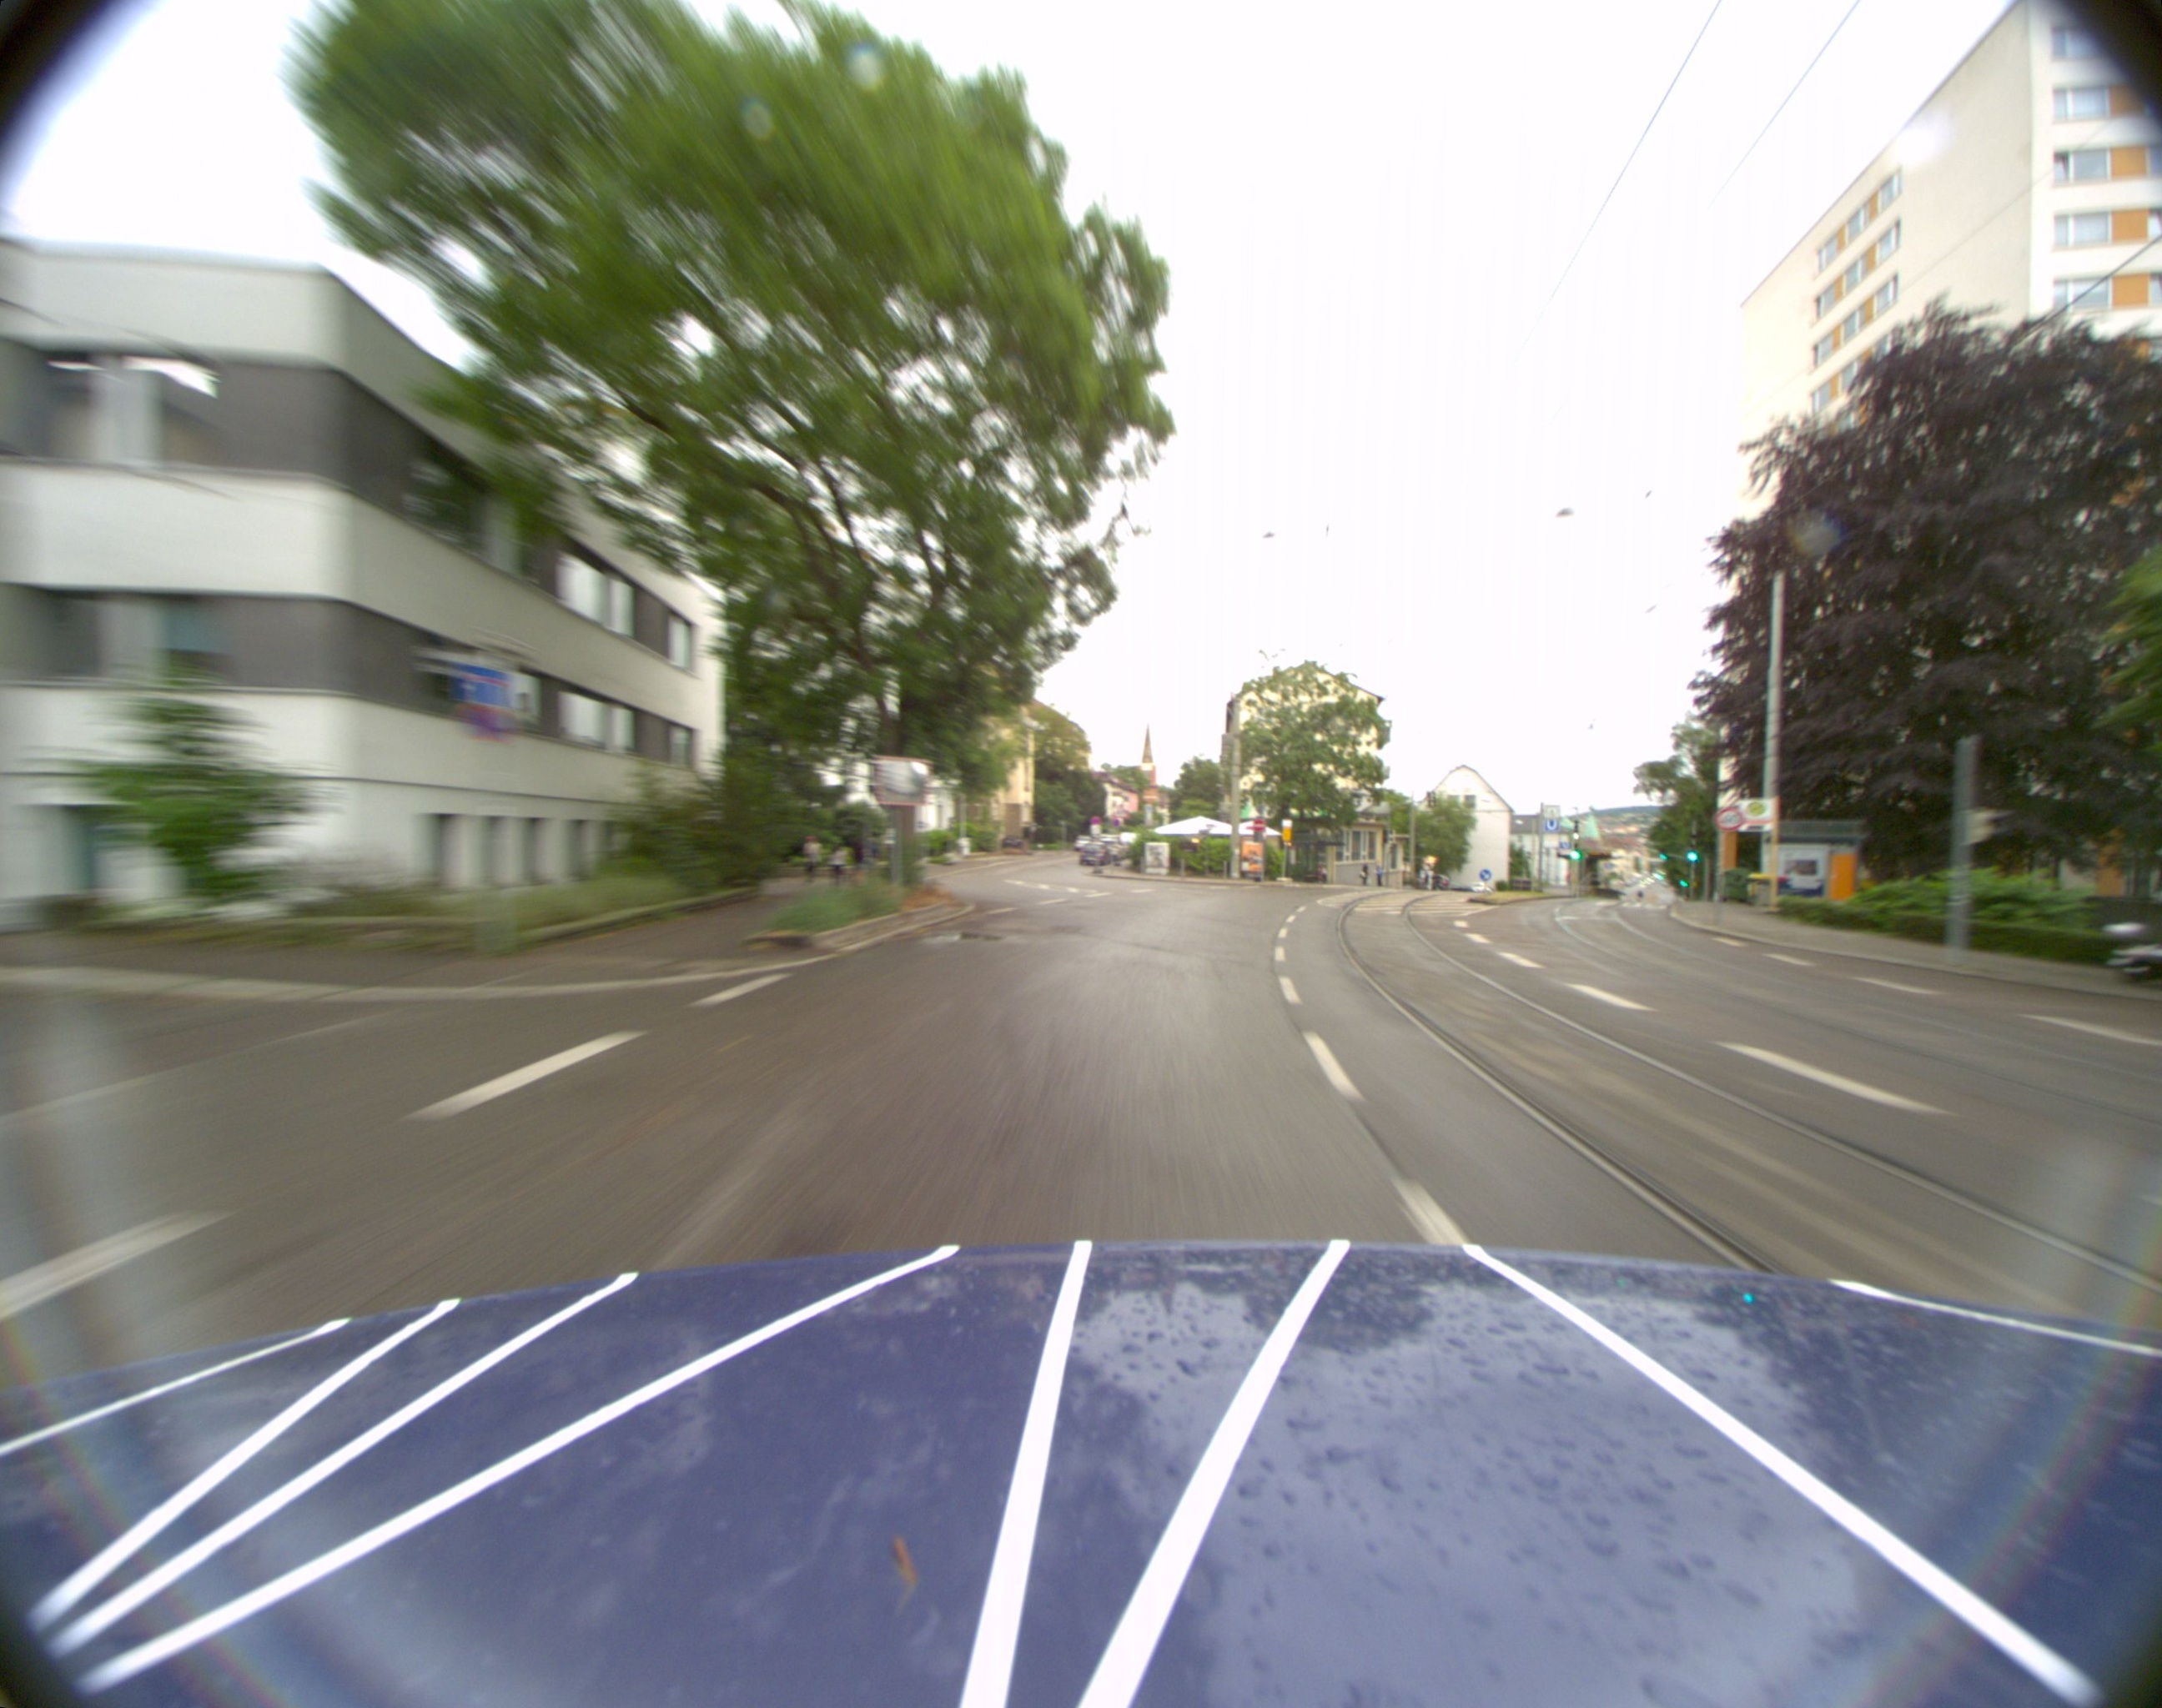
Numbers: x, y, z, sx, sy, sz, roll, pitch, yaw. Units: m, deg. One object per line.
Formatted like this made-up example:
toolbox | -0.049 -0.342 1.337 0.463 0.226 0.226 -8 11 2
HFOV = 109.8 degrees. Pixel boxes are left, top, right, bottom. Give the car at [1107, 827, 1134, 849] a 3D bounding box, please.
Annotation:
car | 3.282 -1.309 62.028 1.691 1.680 3.806 2 1 10

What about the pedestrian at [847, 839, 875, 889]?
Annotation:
pedestrian | -6.957 0.323 24.045 0.600 1.556 0.547 0 -1 28

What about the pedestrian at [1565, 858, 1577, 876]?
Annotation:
pedestrian | 41.416 1.108 64.213 0.671 1.539 0.773 3 0 37

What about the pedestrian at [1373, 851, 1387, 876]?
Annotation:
pedestrian | 19.268 0.613 48.946 0.588 1.545 0.651 5 1 37

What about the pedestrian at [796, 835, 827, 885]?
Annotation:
pedestrian | -9.423 0.223 26.594 0.745 1.689 0.673 4 -1 0

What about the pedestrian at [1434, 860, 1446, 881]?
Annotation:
pedestrian | 31.107 1.443 65.837 0.610 1.704 0.719 3 1 -43

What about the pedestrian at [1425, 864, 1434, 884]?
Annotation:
pedestrian | 29.163 1.664 63.600 0.579 1.703 0.615 0 -1 34

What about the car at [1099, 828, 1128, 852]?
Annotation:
car | 2.478 -1.045 57.303 1.691 1.680 3.806 2 1 10

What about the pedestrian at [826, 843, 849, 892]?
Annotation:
pedestrian | -7.617 0.404 23.764 0.537 1.498 0.386 3 2 31

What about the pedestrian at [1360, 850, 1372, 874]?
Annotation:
pedestrian | 18.534 0.531 49.425 0.545 1.545 0.560 4 1 35

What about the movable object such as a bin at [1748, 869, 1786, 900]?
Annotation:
movable object such as a bin | 25.816 1.134 28.608 1.021 1.131 1.346 0 -2 40

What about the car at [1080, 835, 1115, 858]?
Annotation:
car | 1.138 -0.507 50.274 1.691 1.434 3.806 2 1 10

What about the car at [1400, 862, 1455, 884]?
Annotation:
car | 33.078 1.841 72.560 4.328 1.664 1.785 6 1 40

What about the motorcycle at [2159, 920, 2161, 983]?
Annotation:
motorcycle | 19.133 1.646 12.741 2.125 1.042 0.484 1 -1 -14

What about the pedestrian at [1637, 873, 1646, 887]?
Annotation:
pedestrian | 66.002 3.082 89.441 0.753 1.584 0.619 0 -1 40

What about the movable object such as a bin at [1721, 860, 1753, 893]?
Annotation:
movable object such as a bin | 28.571 0.983 33.093 1.021 1.425 1.358 0 -2 40

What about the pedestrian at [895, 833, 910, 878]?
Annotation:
pedestrian | -7.785 0.072 33.118 0.543 1.913 0.916 1 3 -8

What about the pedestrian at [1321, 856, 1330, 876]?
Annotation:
pedestrian | 14.254 0.676 44.354 0.325 1.144 0.318 6 2 34

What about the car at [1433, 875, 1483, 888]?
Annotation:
car | 44.041 3.206 88.761 4.933 1.428 1.979 0 -1 39

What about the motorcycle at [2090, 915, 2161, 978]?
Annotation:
motorcycle | 18.961 1.621 13.471 2.125 1.042 0.484 1 0 -14

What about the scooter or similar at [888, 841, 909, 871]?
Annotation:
scooter or similar | -8.287 0.088 34.535 0.463 1.283 1.102 1 4 15

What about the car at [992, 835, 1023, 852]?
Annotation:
car | -6.440 -0.874 67.070 1.597 1.333 3.639 1 -2 13

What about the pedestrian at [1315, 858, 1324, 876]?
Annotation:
pedestrian | 13.855 0.762 44.123 0.325 0.989 0.318 6 2 34

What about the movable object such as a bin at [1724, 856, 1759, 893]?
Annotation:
movable object such as a bin | 26.375 0.832 30.353 1.021 1.425 1.431 0 -2 40

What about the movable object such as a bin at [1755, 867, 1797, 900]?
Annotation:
movable object such as a bin | 24.693 1.053 27.017 1.021 1.131 1.346 0 -2 40

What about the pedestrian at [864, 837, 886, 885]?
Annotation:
pedestrian | -7.113 0.244 26.255 0.545 1.619 0.602 1 -1 5

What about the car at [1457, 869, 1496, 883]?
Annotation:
car | 48.466 2.659 93.108 3.988 1.459 1.819 2 5 33
